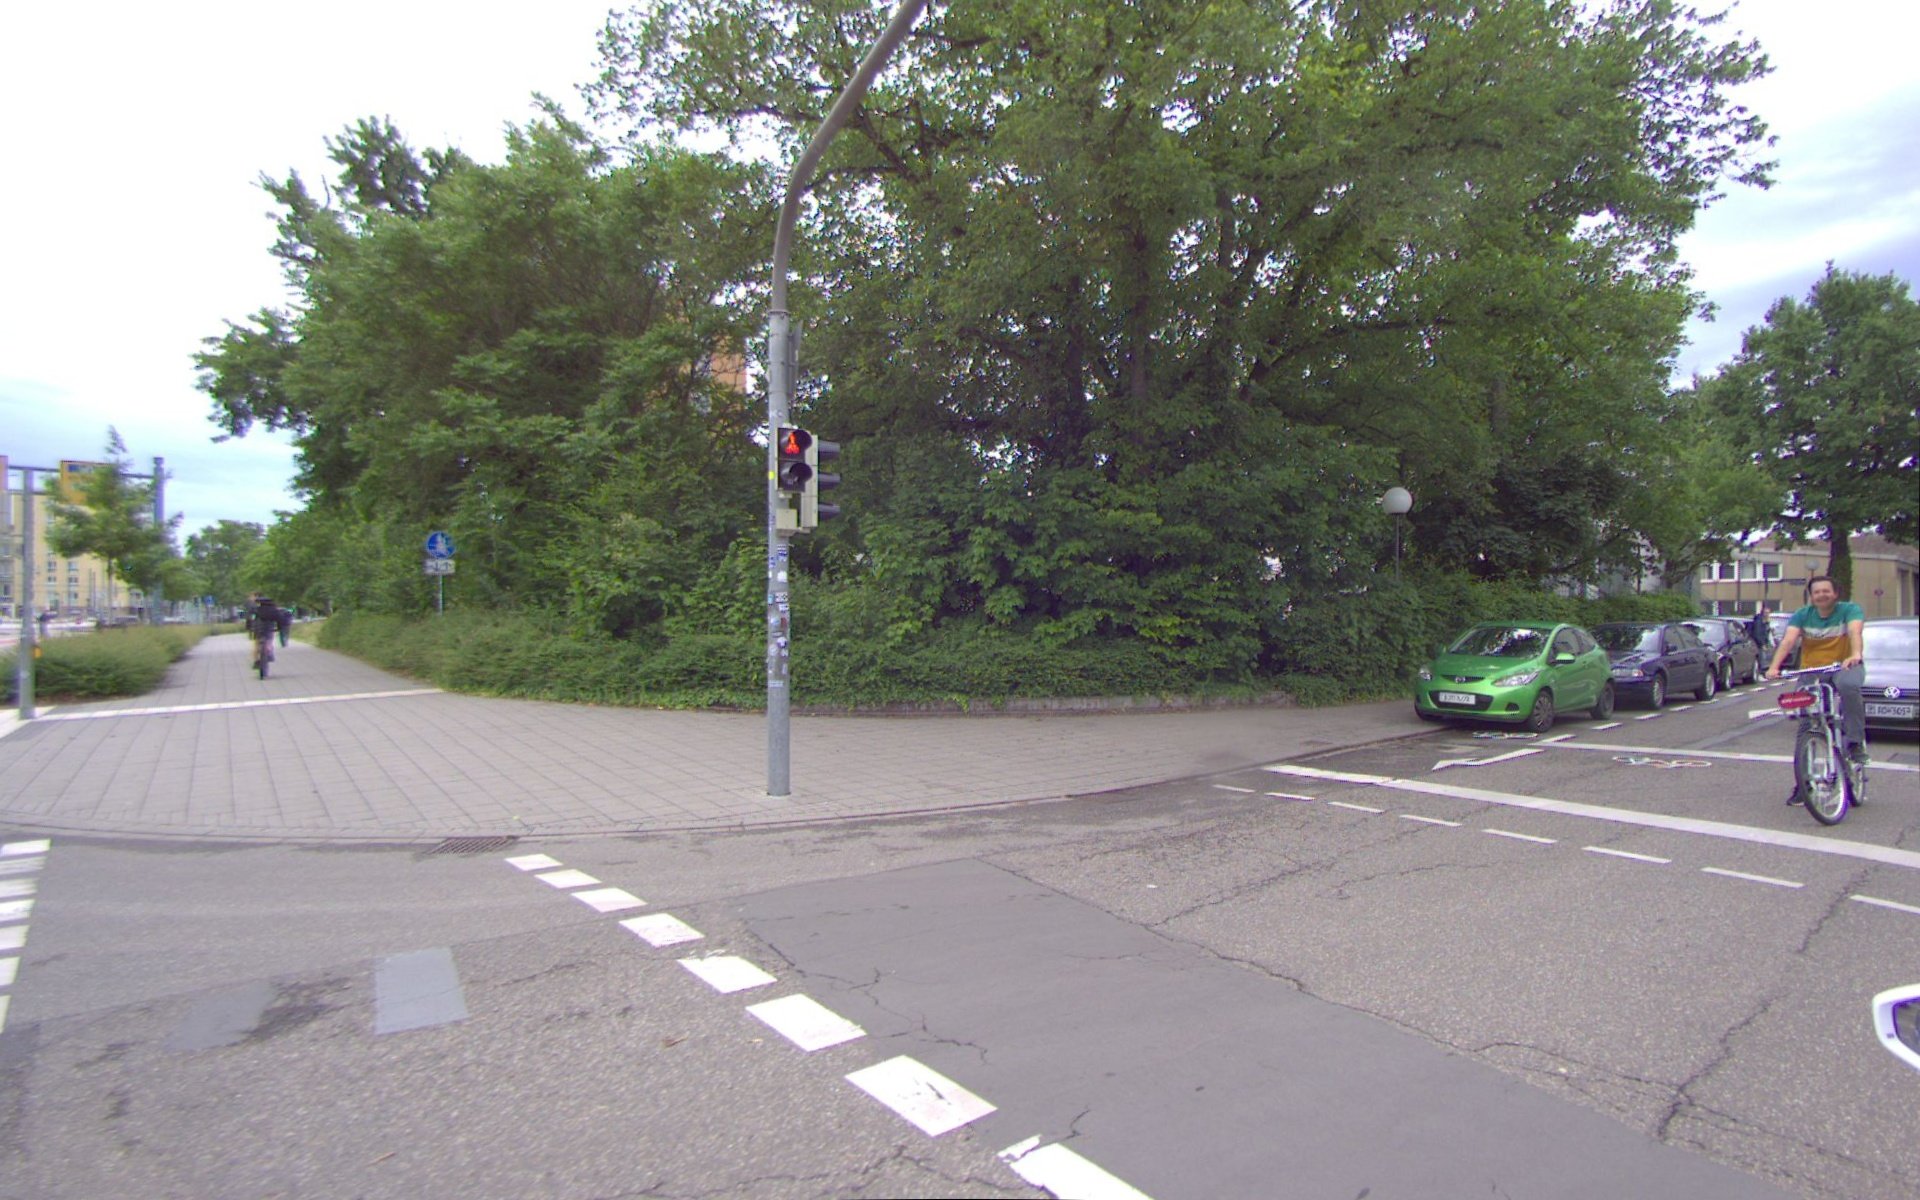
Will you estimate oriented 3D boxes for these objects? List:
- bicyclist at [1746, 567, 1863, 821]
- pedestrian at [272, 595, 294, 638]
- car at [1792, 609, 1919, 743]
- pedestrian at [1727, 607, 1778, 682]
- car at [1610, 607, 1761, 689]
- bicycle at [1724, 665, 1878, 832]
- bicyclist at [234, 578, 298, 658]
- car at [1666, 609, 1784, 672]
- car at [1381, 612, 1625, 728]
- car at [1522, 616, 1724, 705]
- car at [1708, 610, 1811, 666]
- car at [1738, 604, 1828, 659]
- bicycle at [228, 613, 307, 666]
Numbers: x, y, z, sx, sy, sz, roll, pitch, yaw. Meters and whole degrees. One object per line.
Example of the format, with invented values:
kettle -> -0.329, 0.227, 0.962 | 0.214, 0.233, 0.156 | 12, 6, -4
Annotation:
bicyclist -> 6.485, 0.674, 7.715 | 0.650, 1.803, 0.979 | 0, -1, 41
pedestrian -> -26.946, 0.665, 39.969 | 0.635, 1.687, 0.803 | 1, 0, -29
car -> 12.202, 0.883, 12.894 | 4.136, 1.517, 1.767 | 1, -1, -42
pedestrian -> 18.516, 1.026, 23.463 | 0.960, 1.684, 0.733 | -1, 0, -39
car -> 16.026, 0.975, 22.096 | 4.496, 1.582, 1.782 | 0, 0, -42
bicycle -> 6.482, 1.067, 7.707 | 1.843, 1.051, 0.651 | 1, -1, -42
bicyclist -> -14.728, 0.370, 21.324 | 0.907, 1.630, 0.765 | 0, 2, 32
car -> 19.701, 1.001, 25.821 | 3.796, 1.491, 1.746 | 1, -1, -42
car -> 8.160, 0.927, 14.934 | 4.213, 1.489, 1.783 | 1, -1, -40
car -> 12.006, 1.000, 18.105 | 4.297, 1.427, 1.784 | 1, -1, -38
car -> 22.831, 1.027, 28.641 | 3.980, 1.430, 1.746 | 0, 0, -43
car -> 26.379, 0.965, 32.156 | 3.849, 1.607, 1.700 | 0, 1, -42
bicycle -> -14.730, 0.815, 21.355 | 1.833, 1.051, 0.780 | 0, 0, 34
